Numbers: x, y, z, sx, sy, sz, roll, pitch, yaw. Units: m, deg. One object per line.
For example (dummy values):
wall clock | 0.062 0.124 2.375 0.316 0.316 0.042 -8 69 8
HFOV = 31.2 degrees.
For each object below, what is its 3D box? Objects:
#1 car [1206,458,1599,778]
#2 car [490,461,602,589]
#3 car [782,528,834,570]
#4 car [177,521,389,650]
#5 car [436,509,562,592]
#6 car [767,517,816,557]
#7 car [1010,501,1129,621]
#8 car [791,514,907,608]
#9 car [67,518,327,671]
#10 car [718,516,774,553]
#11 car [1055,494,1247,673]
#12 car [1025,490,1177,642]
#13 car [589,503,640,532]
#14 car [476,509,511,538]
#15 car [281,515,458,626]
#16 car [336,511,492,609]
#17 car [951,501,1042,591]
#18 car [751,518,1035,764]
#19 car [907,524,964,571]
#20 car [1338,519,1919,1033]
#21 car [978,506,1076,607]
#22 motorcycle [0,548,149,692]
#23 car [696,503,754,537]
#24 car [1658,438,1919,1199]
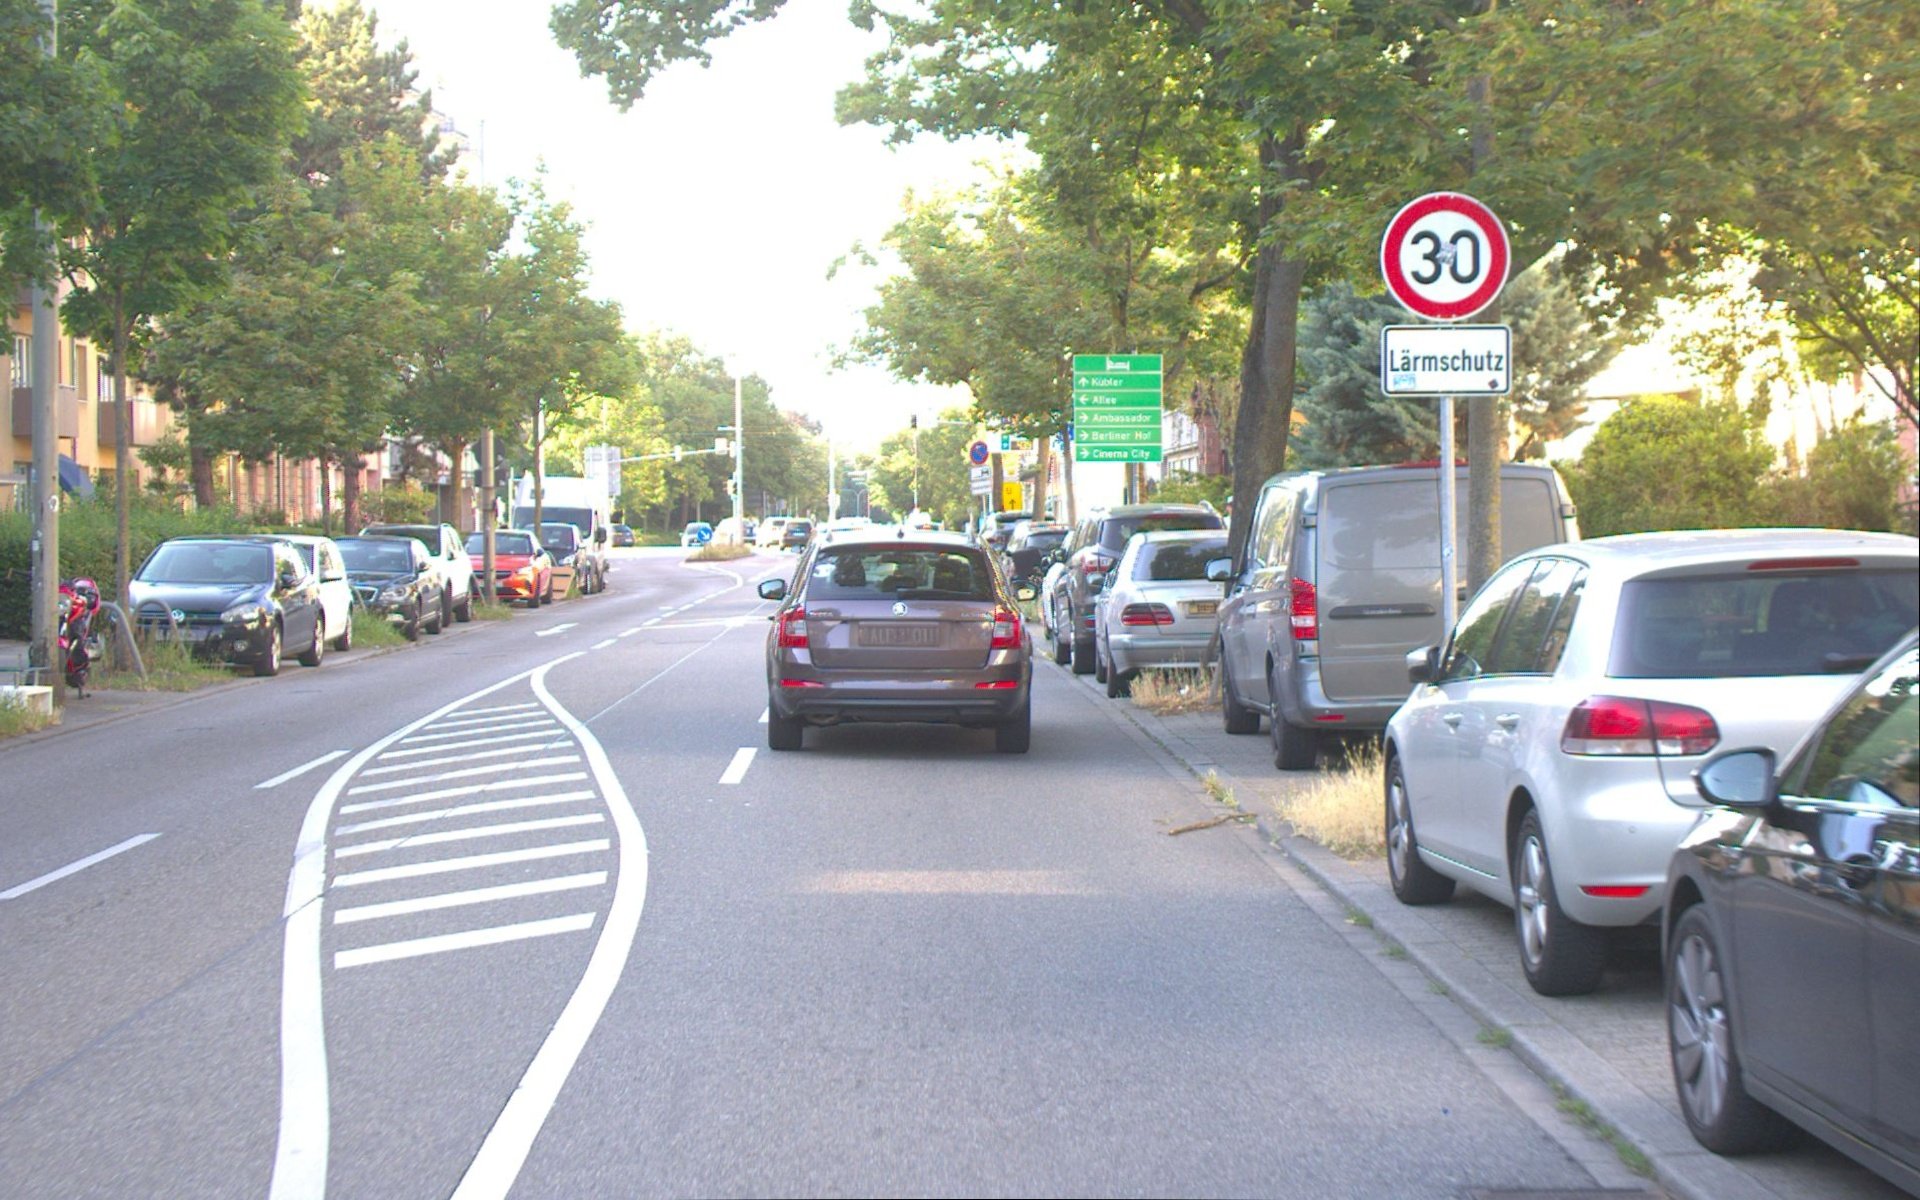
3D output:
car | 2.774 0.026 22.792 1.916 1.854 5.633 0 2 0
car | -9.356 -1.727 78.059 1.991 2.771 5.504 1 2 -2
car | -5.647 -1.904 127.667 1.780 1.475 3.972 1 2 -4
car | -8.393 -0.221 42.915 1.781 1.475 3.971 1 2 1
car | -8.746 -0.967 65.514 1.781 1.475 3.971 1 2 1
car | -7.758 -2.904 157.702 1.993 1.744 4.001 -1 2 -6
car | 1.709 -0.654 54.788 1.754 1.799 4.000 1 2 0
car | -1.931 -0.677 60.067 1.892 1.501 3.790 3 0 -2
car | -8.023 -0.102 36.487 1.781 1.475 4.033 1 2 1
car | -10.390 -3.197 166.677 1.993 1.744 4.001 -1 2 -15
car | 1.916 -0.217 35.461 1.754 1.709 4.000 1 2 0
car | 1.735 -0.469 43.519 1.754 1.799 4.000 1 2 0
car | -18.980 -4.533 188.835 1.644 1.593 3.601 -1 2 -26
car | -27.841 -4.571 205.164 1.993 1.744 4.001 -1 2 -9
car | -8.427 -0.458 49.352 1.781 1.475 3.971 1 2 1
car | -8.696 -0.665 55.045 1.781 1.475 3.971 1 2 1
car | 0.733 -1.152 71.644 1.754 1.799 4.000 1 2 -1
car | -0.406 0.211 23.532 1.754 1.487 4.000 1 2 0
car | -0.896 -1.881 122.405 1.644 1.593 3.651 -1 2 -6
car | 2.584 0.504 12.548 1.754 1.551 4.105 1 1 -3
car | 1.268 -0.869 66.191 1.754 1.799 4.000 -3 2 1
motorcycle | -7.946 0.158 30.885 0.740 1.200 2.141 1 2 2
car | -12.241 -4.158 178.907 1.993 1.744 4.001 -1 2 -19
car | 2.716 0.537 6.905 1.754 1.680 4.252 1 2 0
